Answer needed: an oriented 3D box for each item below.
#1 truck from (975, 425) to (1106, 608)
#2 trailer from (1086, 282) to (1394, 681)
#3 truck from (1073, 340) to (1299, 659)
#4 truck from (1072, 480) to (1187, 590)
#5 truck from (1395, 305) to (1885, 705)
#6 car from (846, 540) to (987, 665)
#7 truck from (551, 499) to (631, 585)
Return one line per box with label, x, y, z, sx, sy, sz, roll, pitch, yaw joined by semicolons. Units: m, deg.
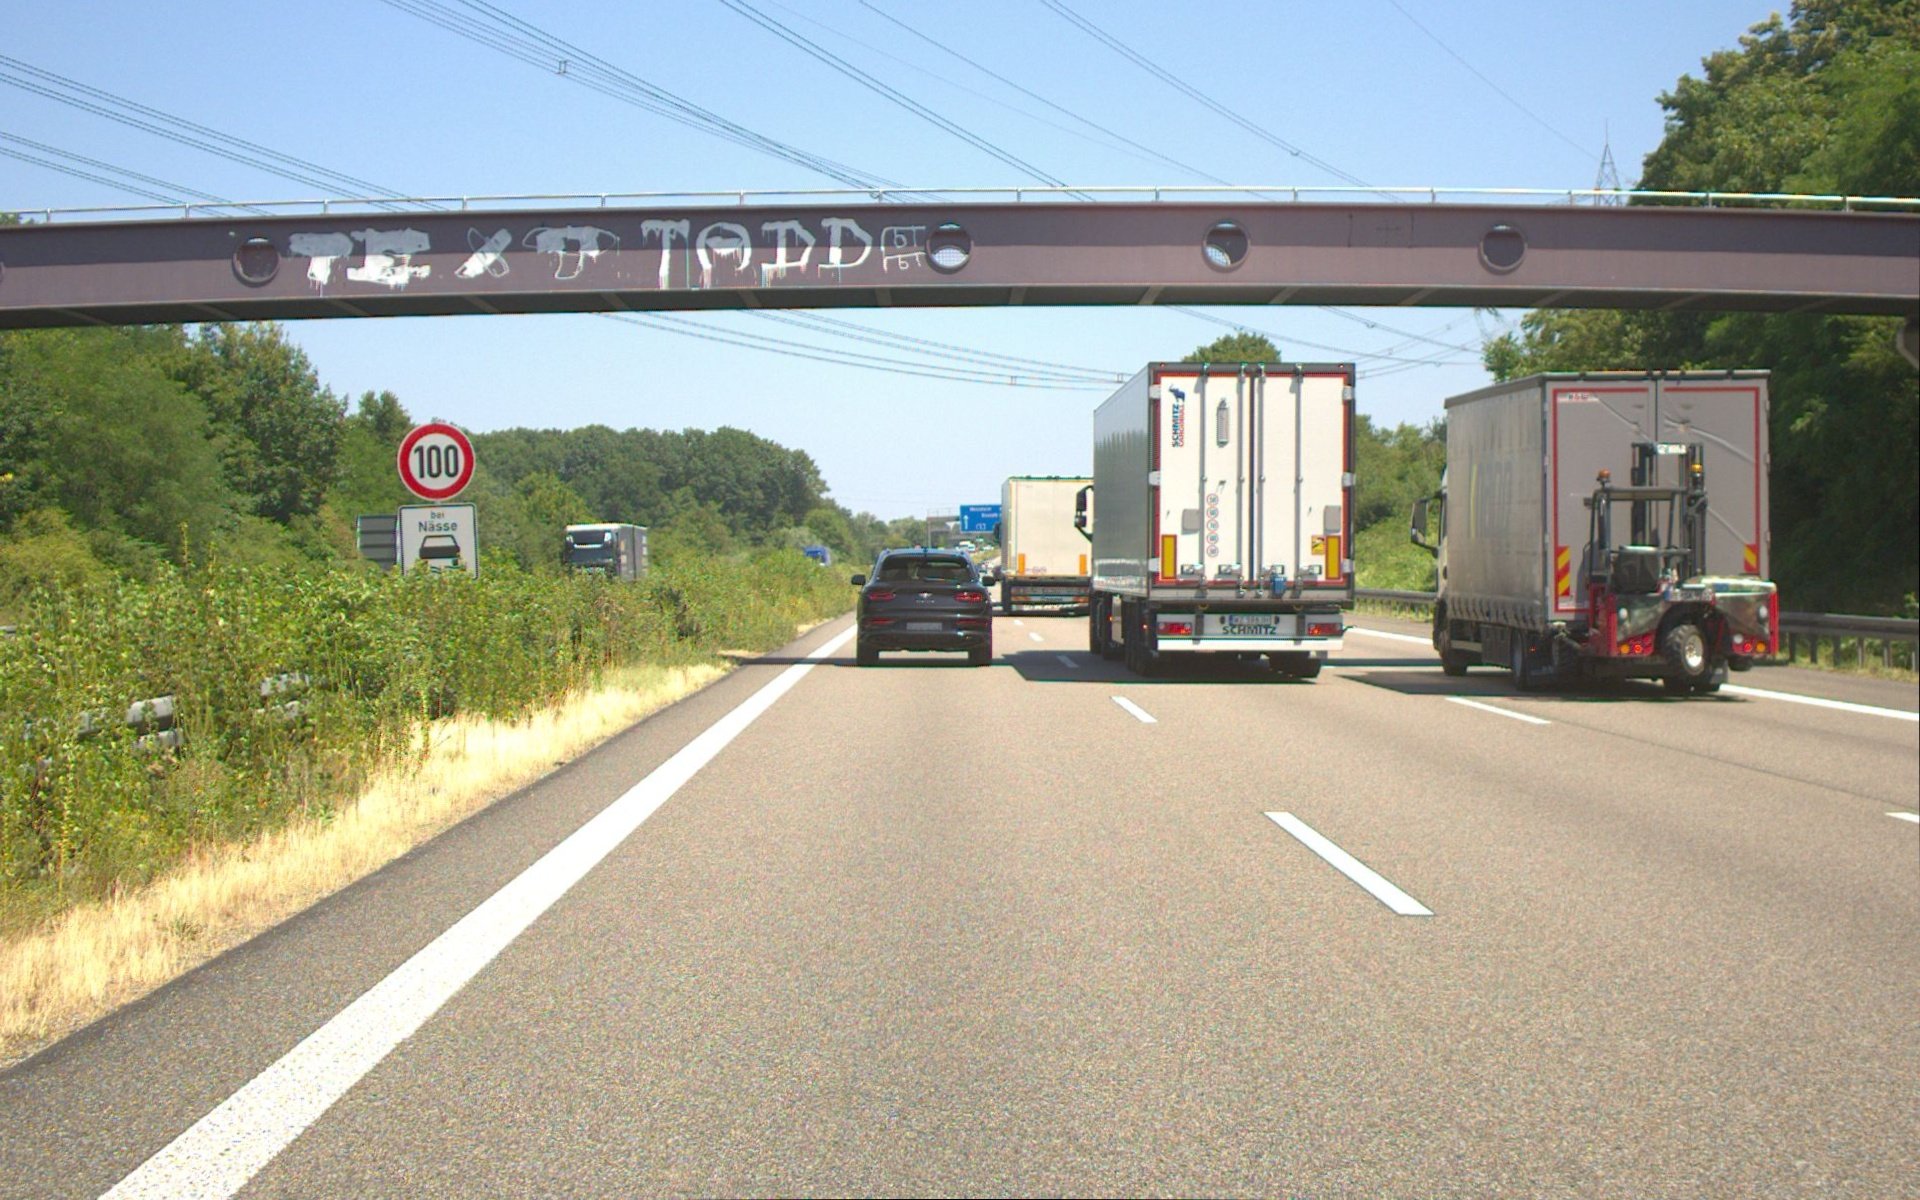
truck;2.305;-2.430;102.610;3.512;5.149;10.259;1;1;-1
trailer;3.678;-1.513;48.539;3.087;4.868;12.258;1;0;-1
truck;3.592;-1.578;56.349;3.087;4.868;6.598;1;0;-1
truck;7.173;-2.757;147.618;3.511;4.477;13.252;0;1;-3
truck;8.046;-1.064;42.784;3.571;4.230;11.652;1;0;-1
car;-0.689;-0.002;51.179;1.993;1.766;4.000;-1;1;-2
truck;-18.427;-2.842;172.327;2.758;4.107;10.216;-1;0;0
